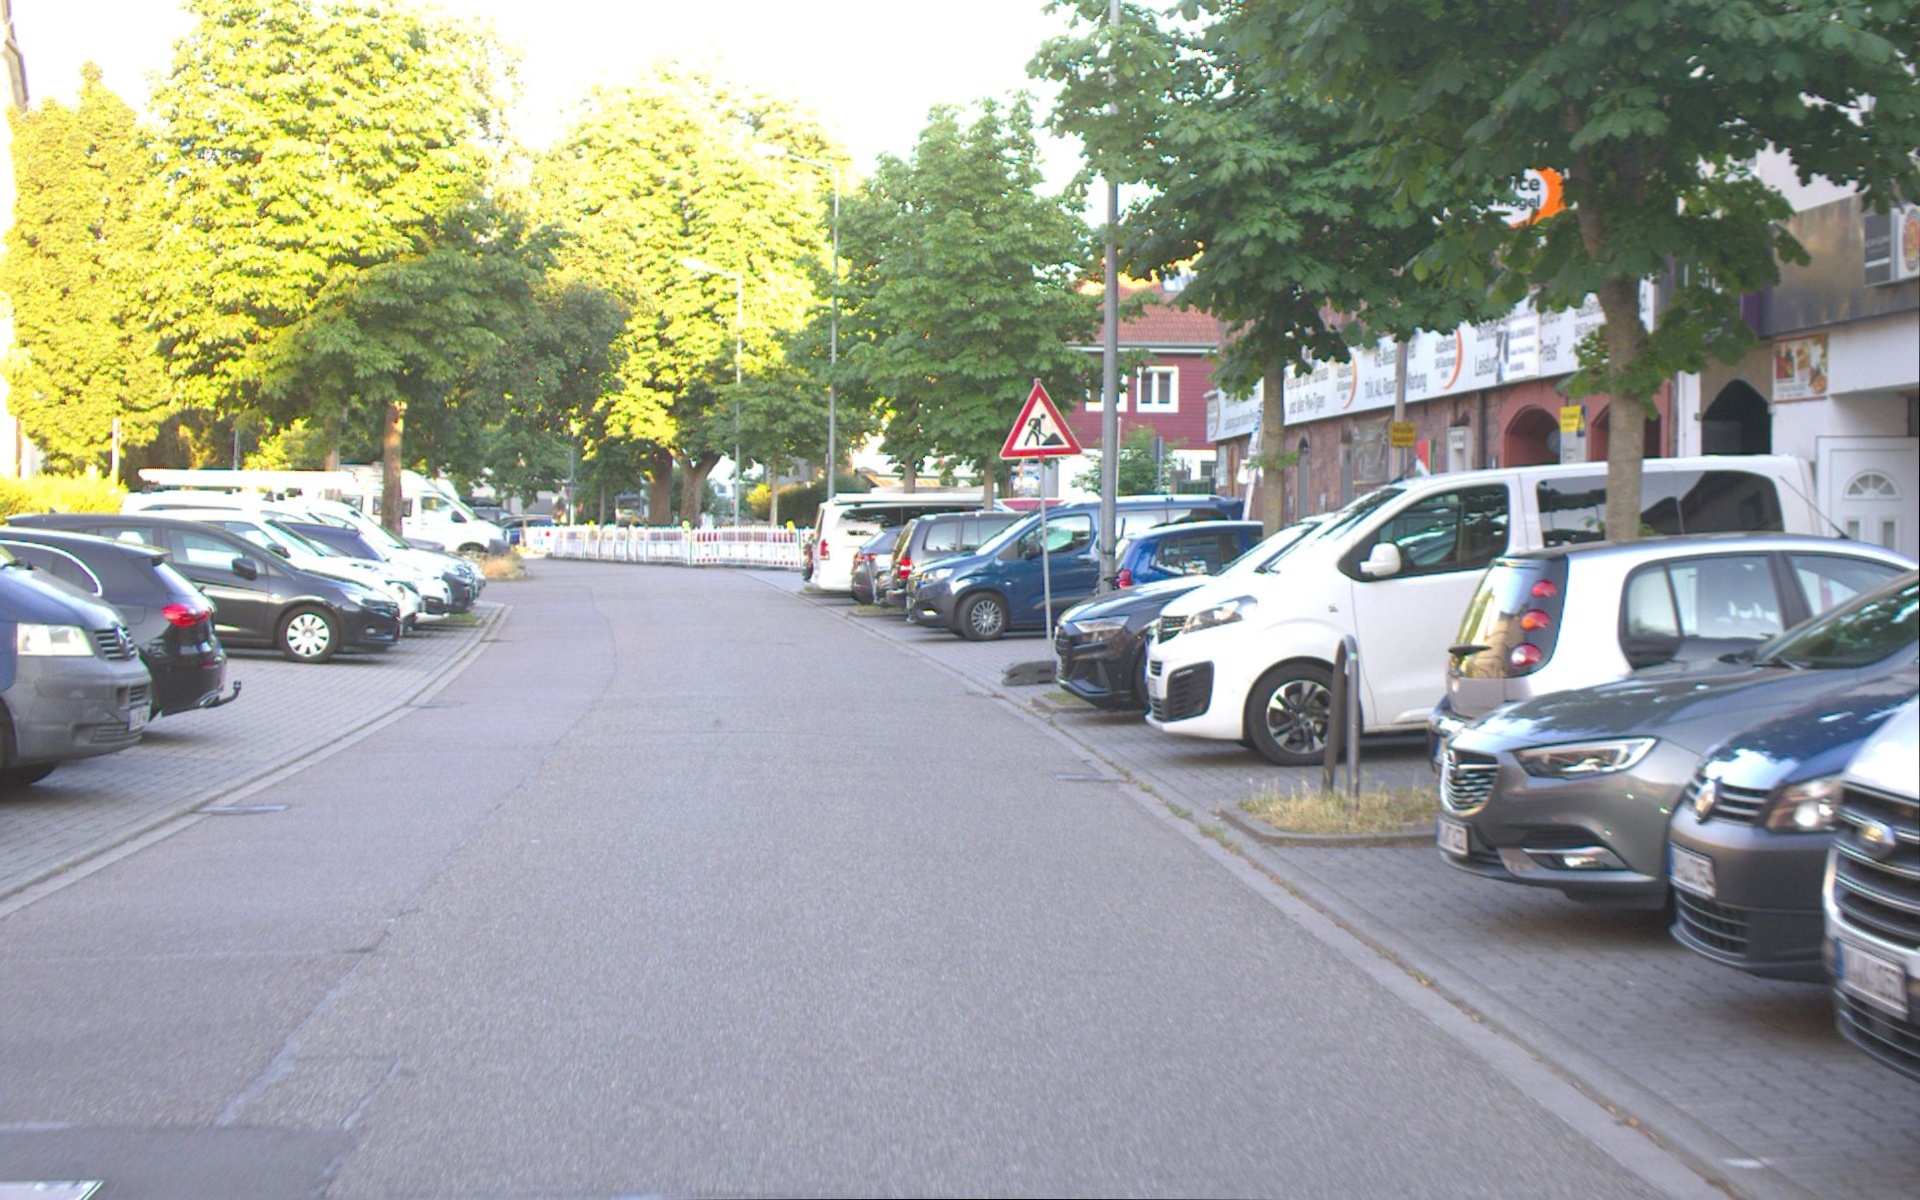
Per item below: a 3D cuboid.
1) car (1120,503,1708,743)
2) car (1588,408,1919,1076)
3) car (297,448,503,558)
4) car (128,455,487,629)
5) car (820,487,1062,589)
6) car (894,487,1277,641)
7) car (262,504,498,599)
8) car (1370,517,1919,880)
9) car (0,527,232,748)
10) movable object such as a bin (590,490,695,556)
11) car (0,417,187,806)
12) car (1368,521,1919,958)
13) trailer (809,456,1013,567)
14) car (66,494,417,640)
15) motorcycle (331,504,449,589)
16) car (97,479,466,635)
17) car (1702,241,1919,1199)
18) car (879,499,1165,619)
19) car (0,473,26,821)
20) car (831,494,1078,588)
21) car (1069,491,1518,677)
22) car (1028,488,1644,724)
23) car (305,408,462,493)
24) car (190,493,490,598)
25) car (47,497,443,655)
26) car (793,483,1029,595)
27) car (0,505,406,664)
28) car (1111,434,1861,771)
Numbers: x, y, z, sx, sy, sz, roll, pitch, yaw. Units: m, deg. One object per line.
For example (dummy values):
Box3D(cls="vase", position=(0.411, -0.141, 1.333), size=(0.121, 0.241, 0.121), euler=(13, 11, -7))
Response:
Box3D(cls="car", position=(3.298, 0.138, 25.506), size=(3.986, 1.490, 1.892), euler=(-3, 1, -2))
Box3D(cls="car", position=(4.291, 0.321, 10.604), size=(4.292, 1.852, 2.000), euler=(-1, 2, -1))
Box3D(cls="car", position=(-13.546, -2.345, 83.361), size=(4.731, 2.560, 2.000), euler=(1, 1, -4))
Box3D(cls="car", position=(-8.952, -0.825, 47.451), size=(4.512, 2.063, 2.000), euler=(4, 2, -2))
Box3D(cls="car", position=(-0.375, -1.146, 63.519), size=(4.300, 1.793, 1.905), euler=(1, 1, -5))
Box3D(cls="car", position=(1.631, -0.503, 45.746), size=(4.785, 1.748, 2.018), euler=(-3, 3, -5))
Box3D(cls="car", position=(-9.647, -0.822, 57.393), size=(3.713, 1.501, 1.690), euler=(1, 1, -3))
Box3D(cls="car", position=(3.963, 0.387, 15.959), size=(3.784, 1.491, 1.681), euler=(-2, 2, -5))
Box3D(cls="car", position=(-7.258, 0.179, 23.897), size=(4.137, 1.411, 1.739), euler=(3, 1, -8))
Box3D(cls="movable object such as a bin", position=(-11.857, -2.874, 128.057), size=(2.627, 2.394, 5.199), euler=(0, 1, -20))
Box3D(cls="car", position=(-6.940, 0.032, 19.090), size=(4.854, 2.047, 2.000), euler=(0, 1, -1))
Box3D(cls="car", position=(4.132, 0.440, 13.396), size=(4.721, 1.491, 2.000), euler=(-2, 2, -4))
Box3D(cls="trailer", position=(-1.019, -1.800, 70.324), size=(3.986, 2.180, 2.000), euler=(1, 1, -5))
Box3D(cls="car", position=(-8.806, -0.420, 42.401), size=(3.986, 1.479, 1.756), euler=(4, 1, -6))
Box3D(cls="motorcycle", position=(-9.809, -0.924, 59.159), size=(1.985, 1.431, 0.722), euler=(1, 1, -10))
Box3D(cls="car", position=(-8.791, -0.577, 44.808), size=(4.421, 1.796, 1.944), euler=(2, 2, -3))
Box3D(cls="car", position=(4.435, 0.346, 7.913), size=(4.960, 2.094, 2.151), euler=(1, 0, 0))
Box3D(cls="car", position=(0.892, -0.623, 51.095), size=(3.986, 1.613, 1.895), euler=(-2, 2, -6))
Box3D(cls="car", position=(-6.809, 0.232, 16.509), size=(4.185, 1.717, 1.902), euler=(0, 1, -3))
Box3D(cls="car", position=(-0.122, -1.002, 57.919), size=(3.986, 1.504, 1.777), euler=(1, 1, -5))
Box3D(cls="car", position=(3.167, -0.176, 33.165), size=(3.986, 1.540, 1.845), euler=(-3, 2, -4))
Box3D(cls="car", position=(3.000, 0.013, 28.162), size=(4.694, 1.626, 2.000), euler=(-3, 2, -2))
Box3D(cls="car", position=(-17.156, -4.424, 102.244), size=(4.501, 2.422, 2.001), euler=(1, 1, -12))
Box3D(cls="car", position=(-9.552, -0.851, 53.208), size=(4.326, 1.400, 1.852), euler=(3, 1, -3))
Box3D(cls="car", position=(-8.238, -0.300, 39.877), size=(4.243, 1.615, 1.813), euler=(2, 2, -4))
Box3D(cls="car", position=(-0.899, -1.079, 60.890), size=(3.986, 1.897, 2.001), euler=(1, 1, -6))
Box3D(cls="car", position=(-8.309, -0.182, 37.209), size=(4.407, 1.447, 1.828), euler=(3, 1, -6))
Box3D(cls="car", position=(3.452, -0.009, 23.182), size=(4.587, 1.855, 2.012), euler=(-4, 1, -2))
